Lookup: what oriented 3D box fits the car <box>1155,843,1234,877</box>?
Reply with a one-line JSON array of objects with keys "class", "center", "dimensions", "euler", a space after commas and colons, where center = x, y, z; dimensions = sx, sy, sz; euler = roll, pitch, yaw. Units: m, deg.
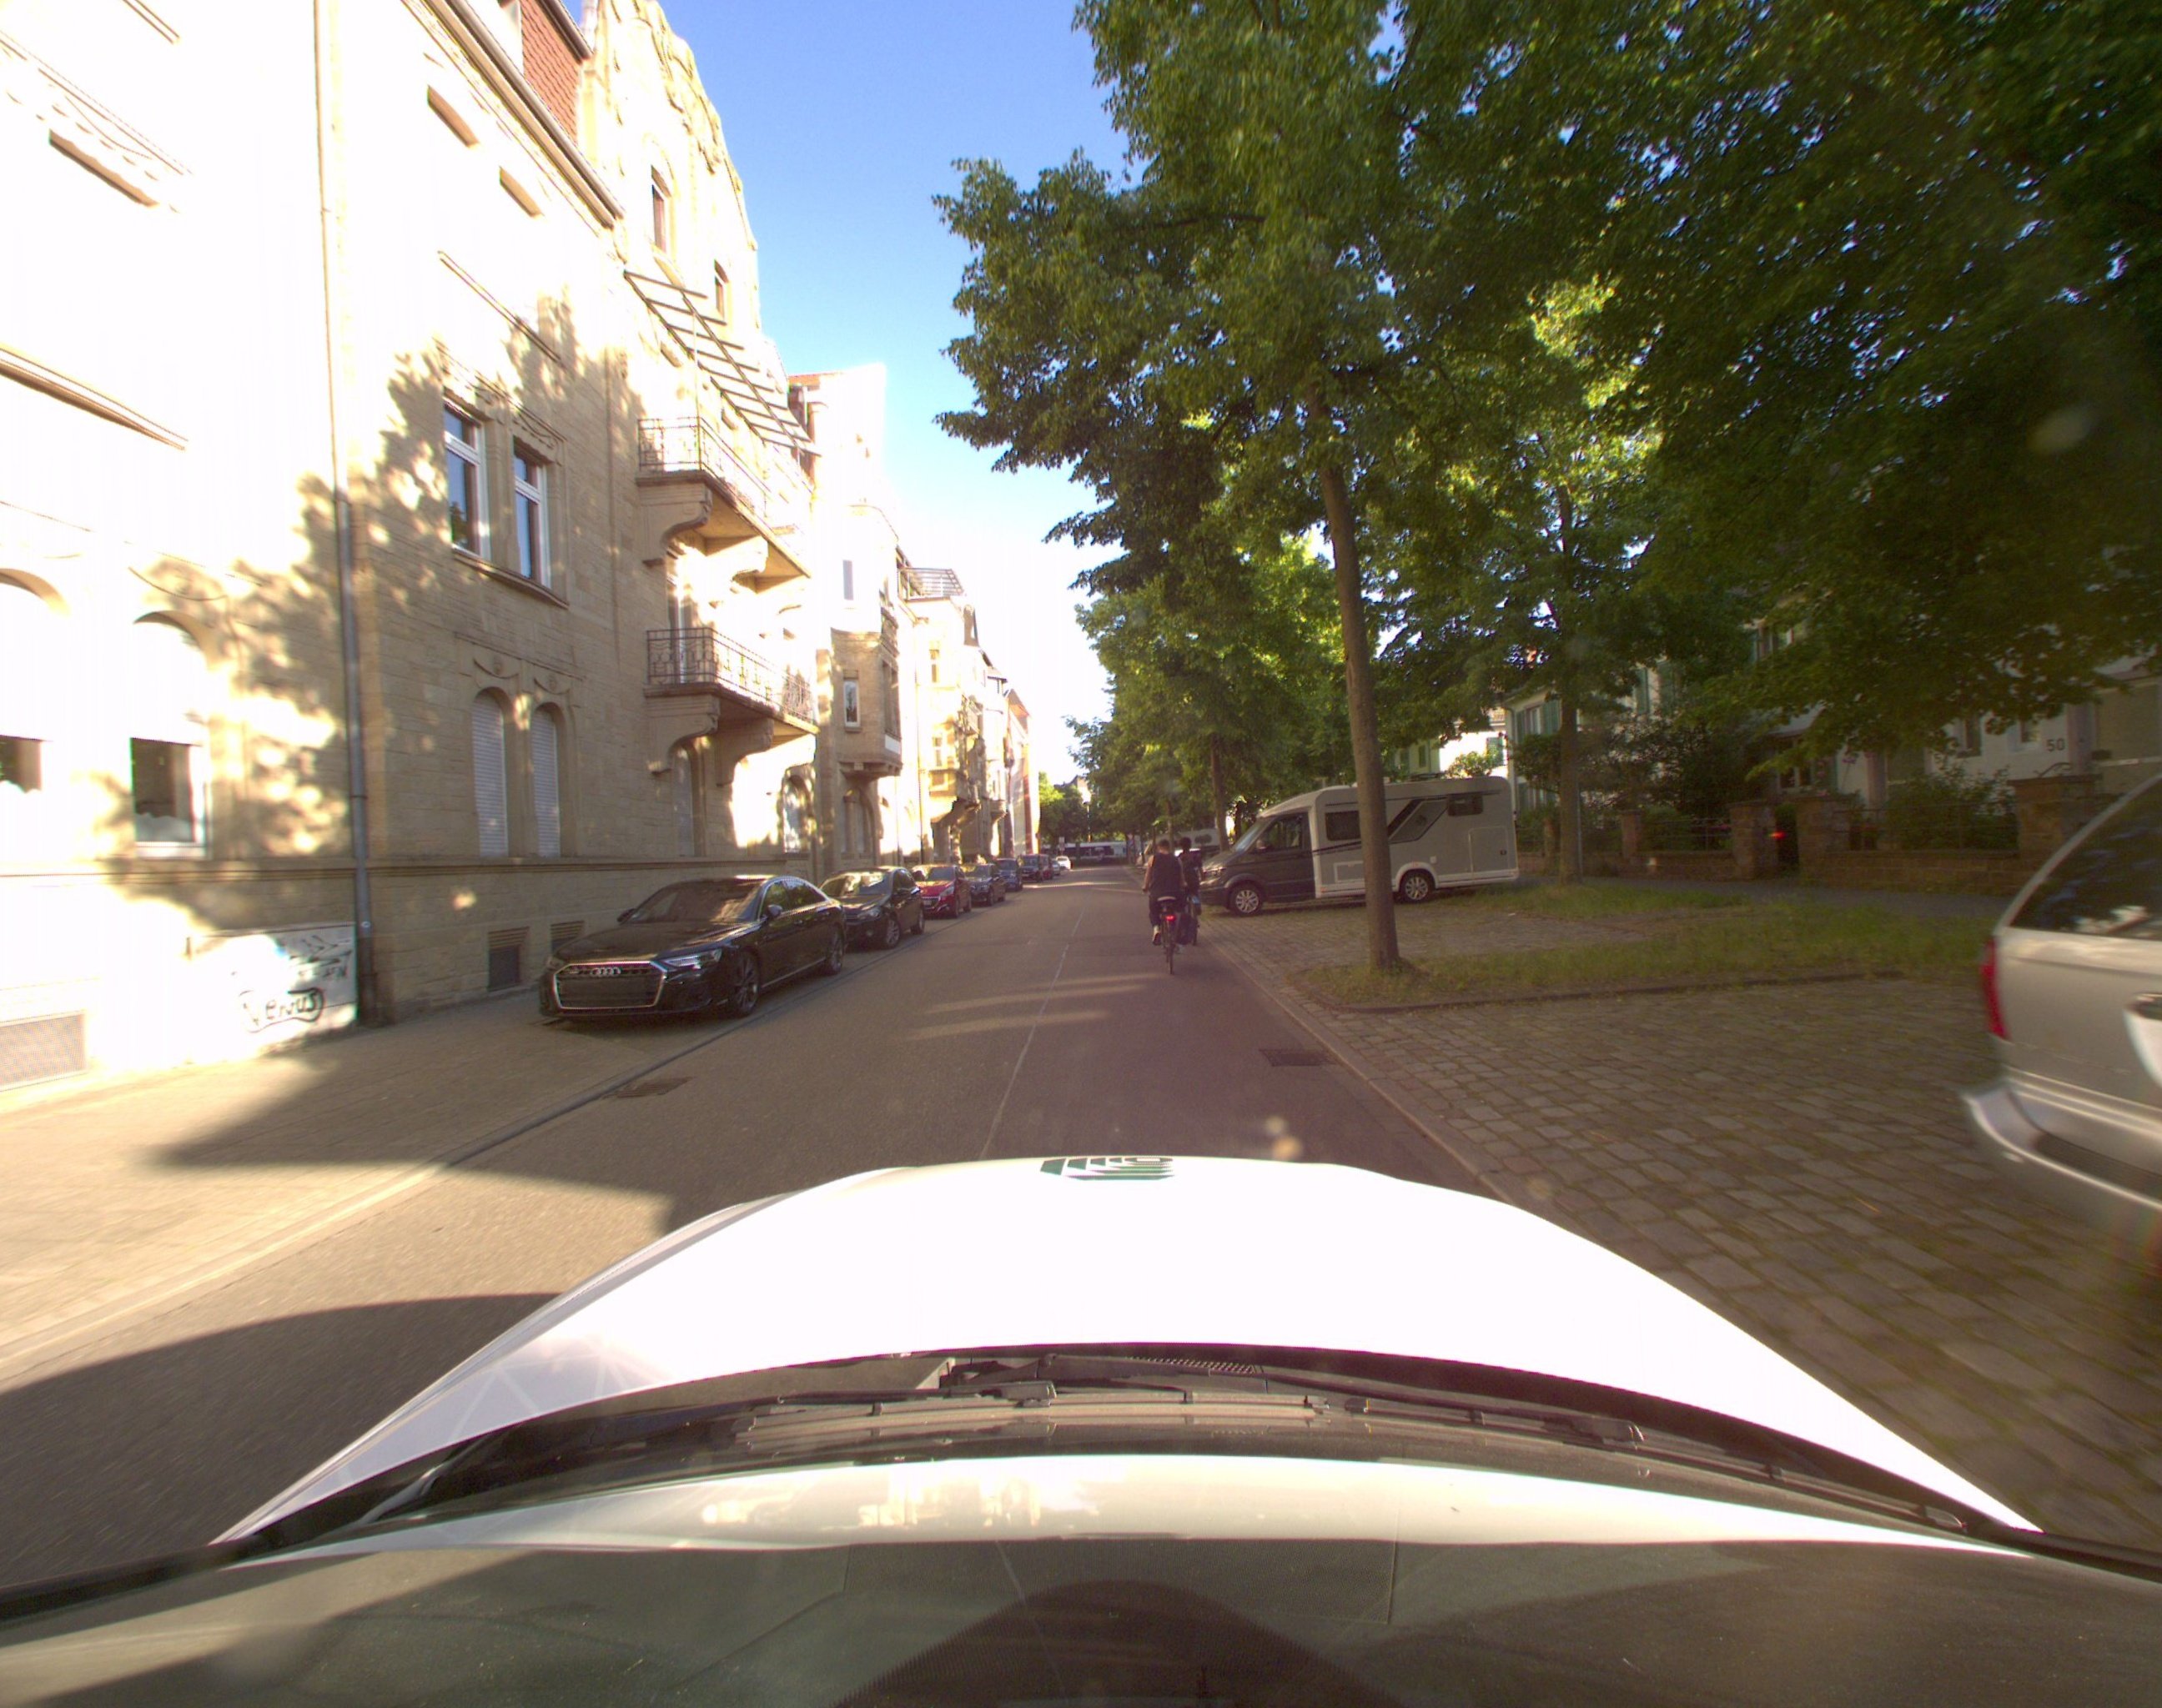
[{"class": "car", "center": [6.207, 0.369, 44.904], "dimensions": [4.121, 1.600, 1.704], "euler": [-3, -2, 3]}]

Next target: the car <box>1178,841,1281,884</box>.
[{"class": "car", "center": [6.492, 0.398, 35.934], "dimensions": [4.205, 1.600, 1.692], "euler": [-3, -2, 3]}]

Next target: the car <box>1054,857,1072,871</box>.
[{"class": "car", "center": [-1.894, 1.034, 86.709], "dimensions": [1.577, 1.375, 4.134], "euler": [0, 0, 2]}]

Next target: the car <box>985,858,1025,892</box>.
[{"class": "car", "center": [-3.540, 0.959, 38.130], "dimensions": [1.590, 1.489, 2.736], "euler": [1, 0, 0]}]

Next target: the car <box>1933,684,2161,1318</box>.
[{"class": "car", "center": [5.140, 0.227, 1.695], "dimensions": [4.601, 1.709, 1.835], "euler": [-5, 0, 3]}]

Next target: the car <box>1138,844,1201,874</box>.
[{"class": "car", "center": [6.064, 0.362, 55.985], "dimensions": [4.070, 1.650, 1.640], "euler": [-6, -1, -1]}]

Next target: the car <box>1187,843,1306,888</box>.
[{"class": "car", "center": [6.128, 0.418, 30.443], "dimensions": [4.022, 1.454, 1.689], "euler": [-3, 0, -3]}]

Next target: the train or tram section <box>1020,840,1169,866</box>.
[{"class": "train or tram section", "center": [2.362, -0.231, 129.175], "dimensions": [23.892, 3.708, 4.255], "euler": [-1, -1, -21]}]

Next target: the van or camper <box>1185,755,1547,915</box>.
[{"class": "van or camper", "center": [6.105, -0.380, 18.351], "dimensions": [7.117, 2.646, 2.467], "euler": [-6, 0, 3]}]

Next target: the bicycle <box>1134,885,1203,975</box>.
[{"class": "bicycle", "center": [1.143, 0.970, 11.016], "dimensions": [0.735, 1.054, 1.956], "euler": [-1, -1, 1]}]

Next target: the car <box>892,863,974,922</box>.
[{"class": "car", "center": [-4.105, 1.024, 23.143], "dimensions": [1.624, 1.453, 3.836], "euler": [-1, 0, -1]}]

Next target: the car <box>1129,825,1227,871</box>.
[{"class": "car", "center": [7.500, -0.422, 63.288], "dimensions": [7.127, 2.978, 2.463], "euler": [-4, 0, -1]}]

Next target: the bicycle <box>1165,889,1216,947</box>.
[{"class": "bicycle", "center": [1.819, 1.053, 13.794], "dimensions": [0.631, 0.799, 1.833], "euler": [-3, 0, 2]}]

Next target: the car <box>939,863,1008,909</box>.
[{"class": "car", "center": [-3.704, 1.072, 28.863], "dimensions": [1.669, 1.430, 4.553], "euler": [0, 0, 2]}]

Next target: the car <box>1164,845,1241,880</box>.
[{"class": "car", "center": [6.300, 0.467, 42.448], "dimensions": [3.757, 1.600, 1.692], "euler": [-3, -2, 3]}]

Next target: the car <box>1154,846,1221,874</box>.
[{"class": "car", "center": [6.930, 0.400, 53.288], "dimensions": [4.127, 1.600, 1.701], "euler": [-3, -2, -1]}]

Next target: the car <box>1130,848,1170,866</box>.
[{"class": "car", "center": [7.234, 0.348, 85.546], "dimensions": [3.975, 1.803, 1.833], "euler": [-1, -1, -1]}]

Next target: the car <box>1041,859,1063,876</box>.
[{"class": "car", "center": [-2.461, 1.123, 69.385], "dimensions": [1.577, 1.343, 4.134], "euler": [0, 0, 2]}]

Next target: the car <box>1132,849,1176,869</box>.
[{"class": "car", "center": [6.924, 0.452, 77.660], "dimensions": [3.975, 1.803, 1.833], "euler": [-1, -1, -1]}]

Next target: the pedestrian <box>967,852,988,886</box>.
[{"class": "pedestrian", "center": [-5.272, 0.765, 41.515], "dimensions": [0.934, 1.742, 0.735], "euler": [-1, -1, 2]}]

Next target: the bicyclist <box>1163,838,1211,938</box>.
[{"class": "bicyclist", "center": [1.797, 0.555, 13.887], "dimensions": [0.686, 1.626, 0.999], "euler": [-1, 0, 2]}]

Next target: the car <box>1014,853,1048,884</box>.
[{"class": "car", "center": [-3.099, 0.877, 51.219], "dimensions": [1.634, 1.783, 4.357], "euler": [0, 0, 2]}]

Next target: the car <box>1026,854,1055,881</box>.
[{"class": "car", "center": [-2.858, 0.910, 58.307], "dimensions": [1.682, 1.825, 4.275], "euler": [0, 0, 2]}]

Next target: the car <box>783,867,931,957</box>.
[{"class": "car", "center": [-4.166, 1.009, 15.808], "dimensions": [1.690, 1.453, 4.027], "euler": [-2, -1, 0]}]

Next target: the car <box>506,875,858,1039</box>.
[{"class": "car", "center": [-4.370, 1.014, 10.008], "dimensions": [1.804, 1.427, 4.899], "euler": [0, 0, 1]}]

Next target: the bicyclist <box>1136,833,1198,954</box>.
[{"class": "bicyclist", "center": [1.137, 0.519, 10.959], "dimensions": [0.727, 1.548, 0.884], "euler": [-1, -1, 0]}]
